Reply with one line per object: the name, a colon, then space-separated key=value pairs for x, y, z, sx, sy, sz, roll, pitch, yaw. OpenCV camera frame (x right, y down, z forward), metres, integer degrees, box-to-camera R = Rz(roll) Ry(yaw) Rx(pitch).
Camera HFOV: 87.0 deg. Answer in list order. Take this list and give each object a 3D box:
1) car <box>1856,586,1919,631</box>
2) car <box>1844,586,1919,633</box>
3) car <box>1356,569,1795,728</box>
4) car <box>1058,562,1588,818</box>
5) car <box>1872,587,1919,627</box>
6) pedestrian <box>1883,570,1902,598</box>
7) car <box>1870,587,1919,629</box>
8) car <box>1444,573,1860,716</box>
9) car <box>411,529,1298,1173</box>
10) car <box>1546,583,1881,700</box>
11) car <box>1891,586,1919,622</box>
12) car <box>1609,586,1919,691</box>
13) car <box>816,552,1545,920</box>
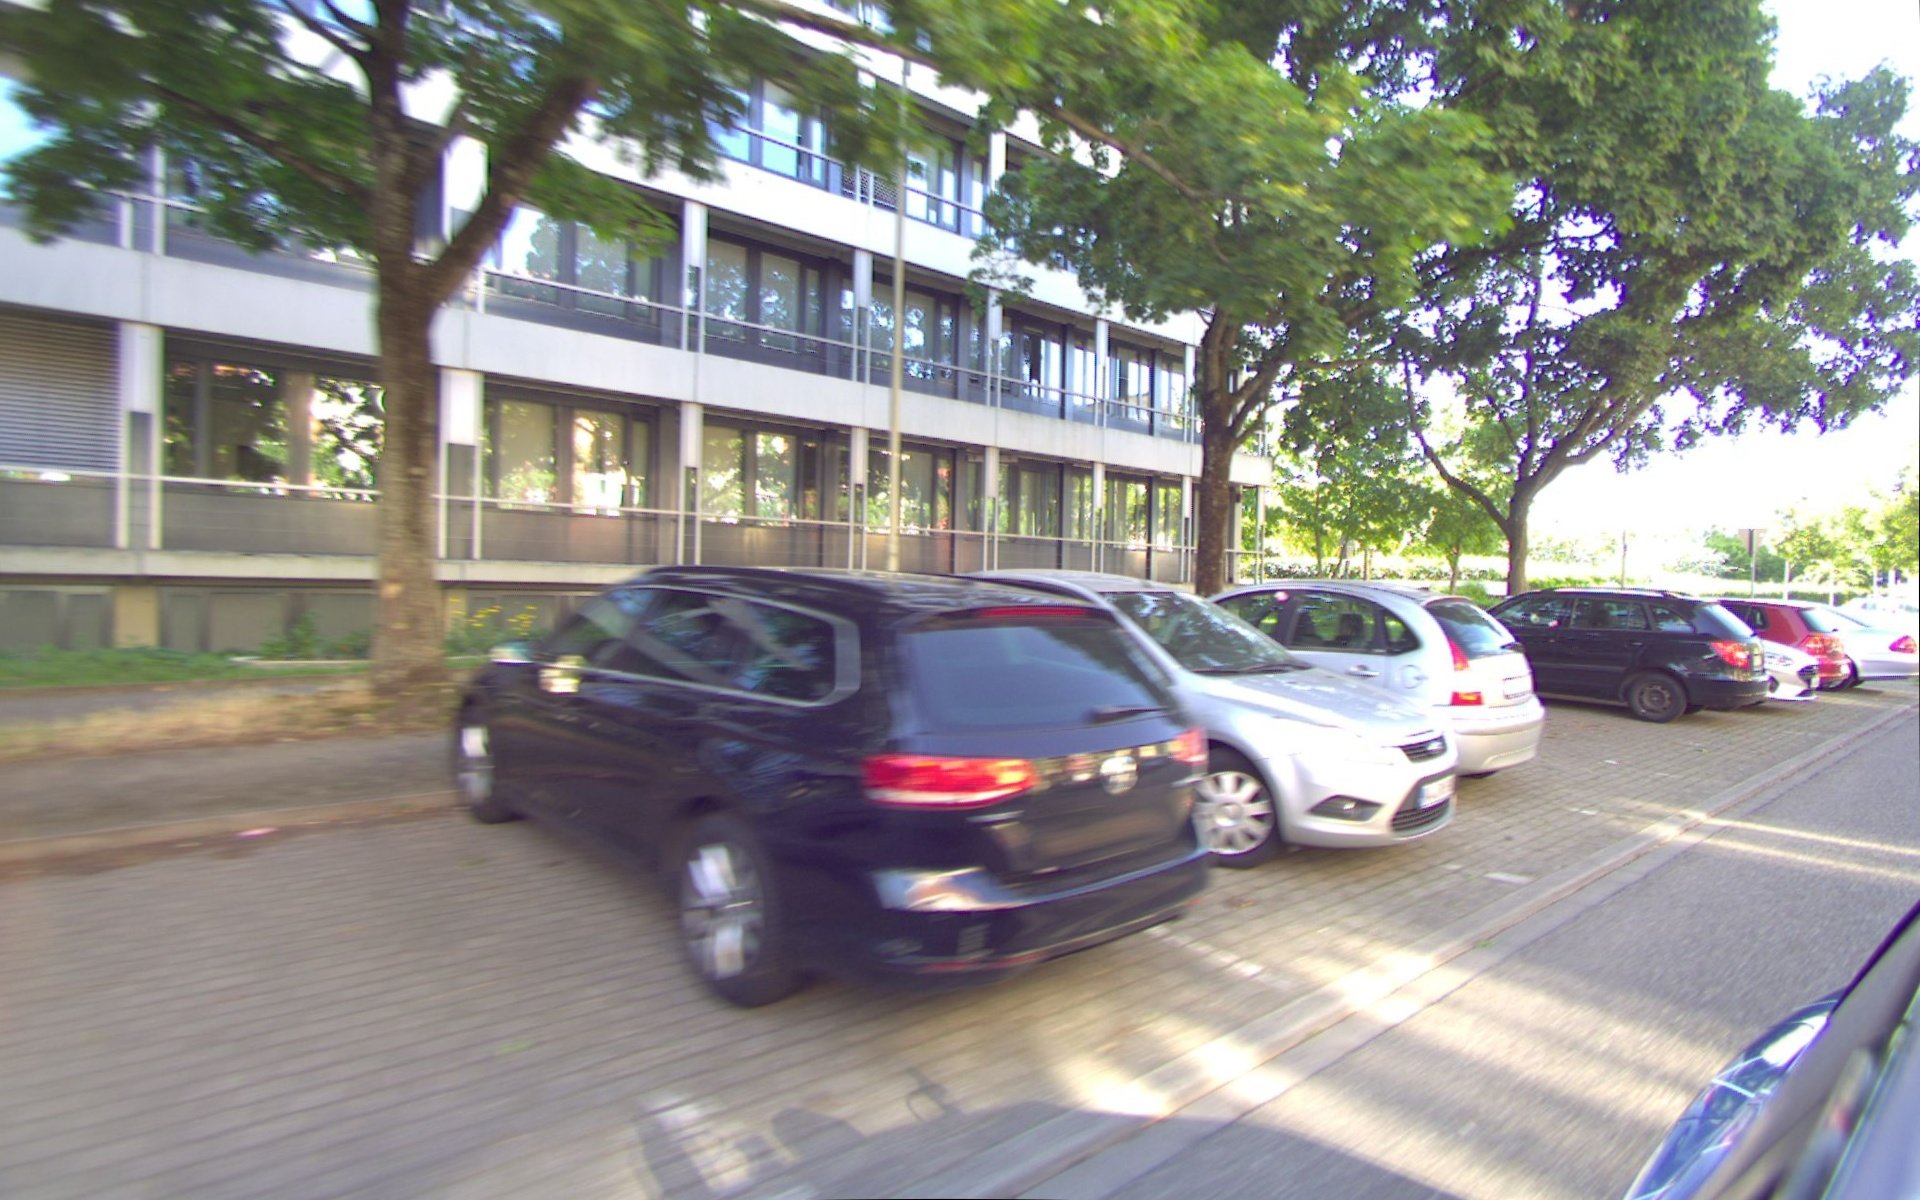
car: x=36.362 y=0.406 z=37.515 sx=4.552 sy=1.533 sz=1.951 roll=5 pitch=5 yaw=44
car: x=34.279 y=0.395 z=36.010 sx=1.671 sy=1.533 sz=3.959 roll=0 pitch=4 yaw=-39
car: x=7.804 y=0.471 z=13.183 sx=1.890 sy=1.561 sz=4.520 roll=0 pitch=3 yaw=-44
car: x=2.770 y=0.519 z=8.311 sx=1.590 sy=1.511 sz=3.747 roll=0 pitch=3 yaw=-44
car: x=40.110 y=0.385 z=40.868 sx=2.120 sy=1.533 sz=4.562 roll=-1 pitch=4 yaw=-39
pedestrian: x=54.440 y=-0.929 z=59.069 sx=0.920 sy=1.561 sz=0.608 roll=0 pitch=1 yaw=-38
car: x=38.136 y=0.364 z=39.323 sx=1.719 sy=1.533 sz=3.886 roll=0 pitch=4 yaw=-39
car: x=9.687 y=0.489 z=14.547 sx=1.886 sy=1.561 sz=4.530 roll=0 pitch=3 yaw=-36
car: x=-0.992 y=0.502 z=4.768 sx=1.733 sy=1.511 sz=4.599 roll=0 pitch=4 yaw=-42
car: x=11.823 y=0.552 z=16.101 sx=1.886 sy=1.464 sz=3.851 roll=0 pitch=3 yaw=-36
car: x=42.083 y=0.293 z=42.688 sx=1.713 sy=1.465 sz=3.818 roll=0 pitch=6 yaw=-38
car: x=14.118 y=0.571 z=17.478 sx=1.716 sy=1.493 sz=4.588 roll=0 pitch=2 yaw=-40
car: x=1.116 y=0.515 z=6.634 sx=1.970 sy=1.511 sz=4.292 roll=0 pitch=3 yaw=-43
